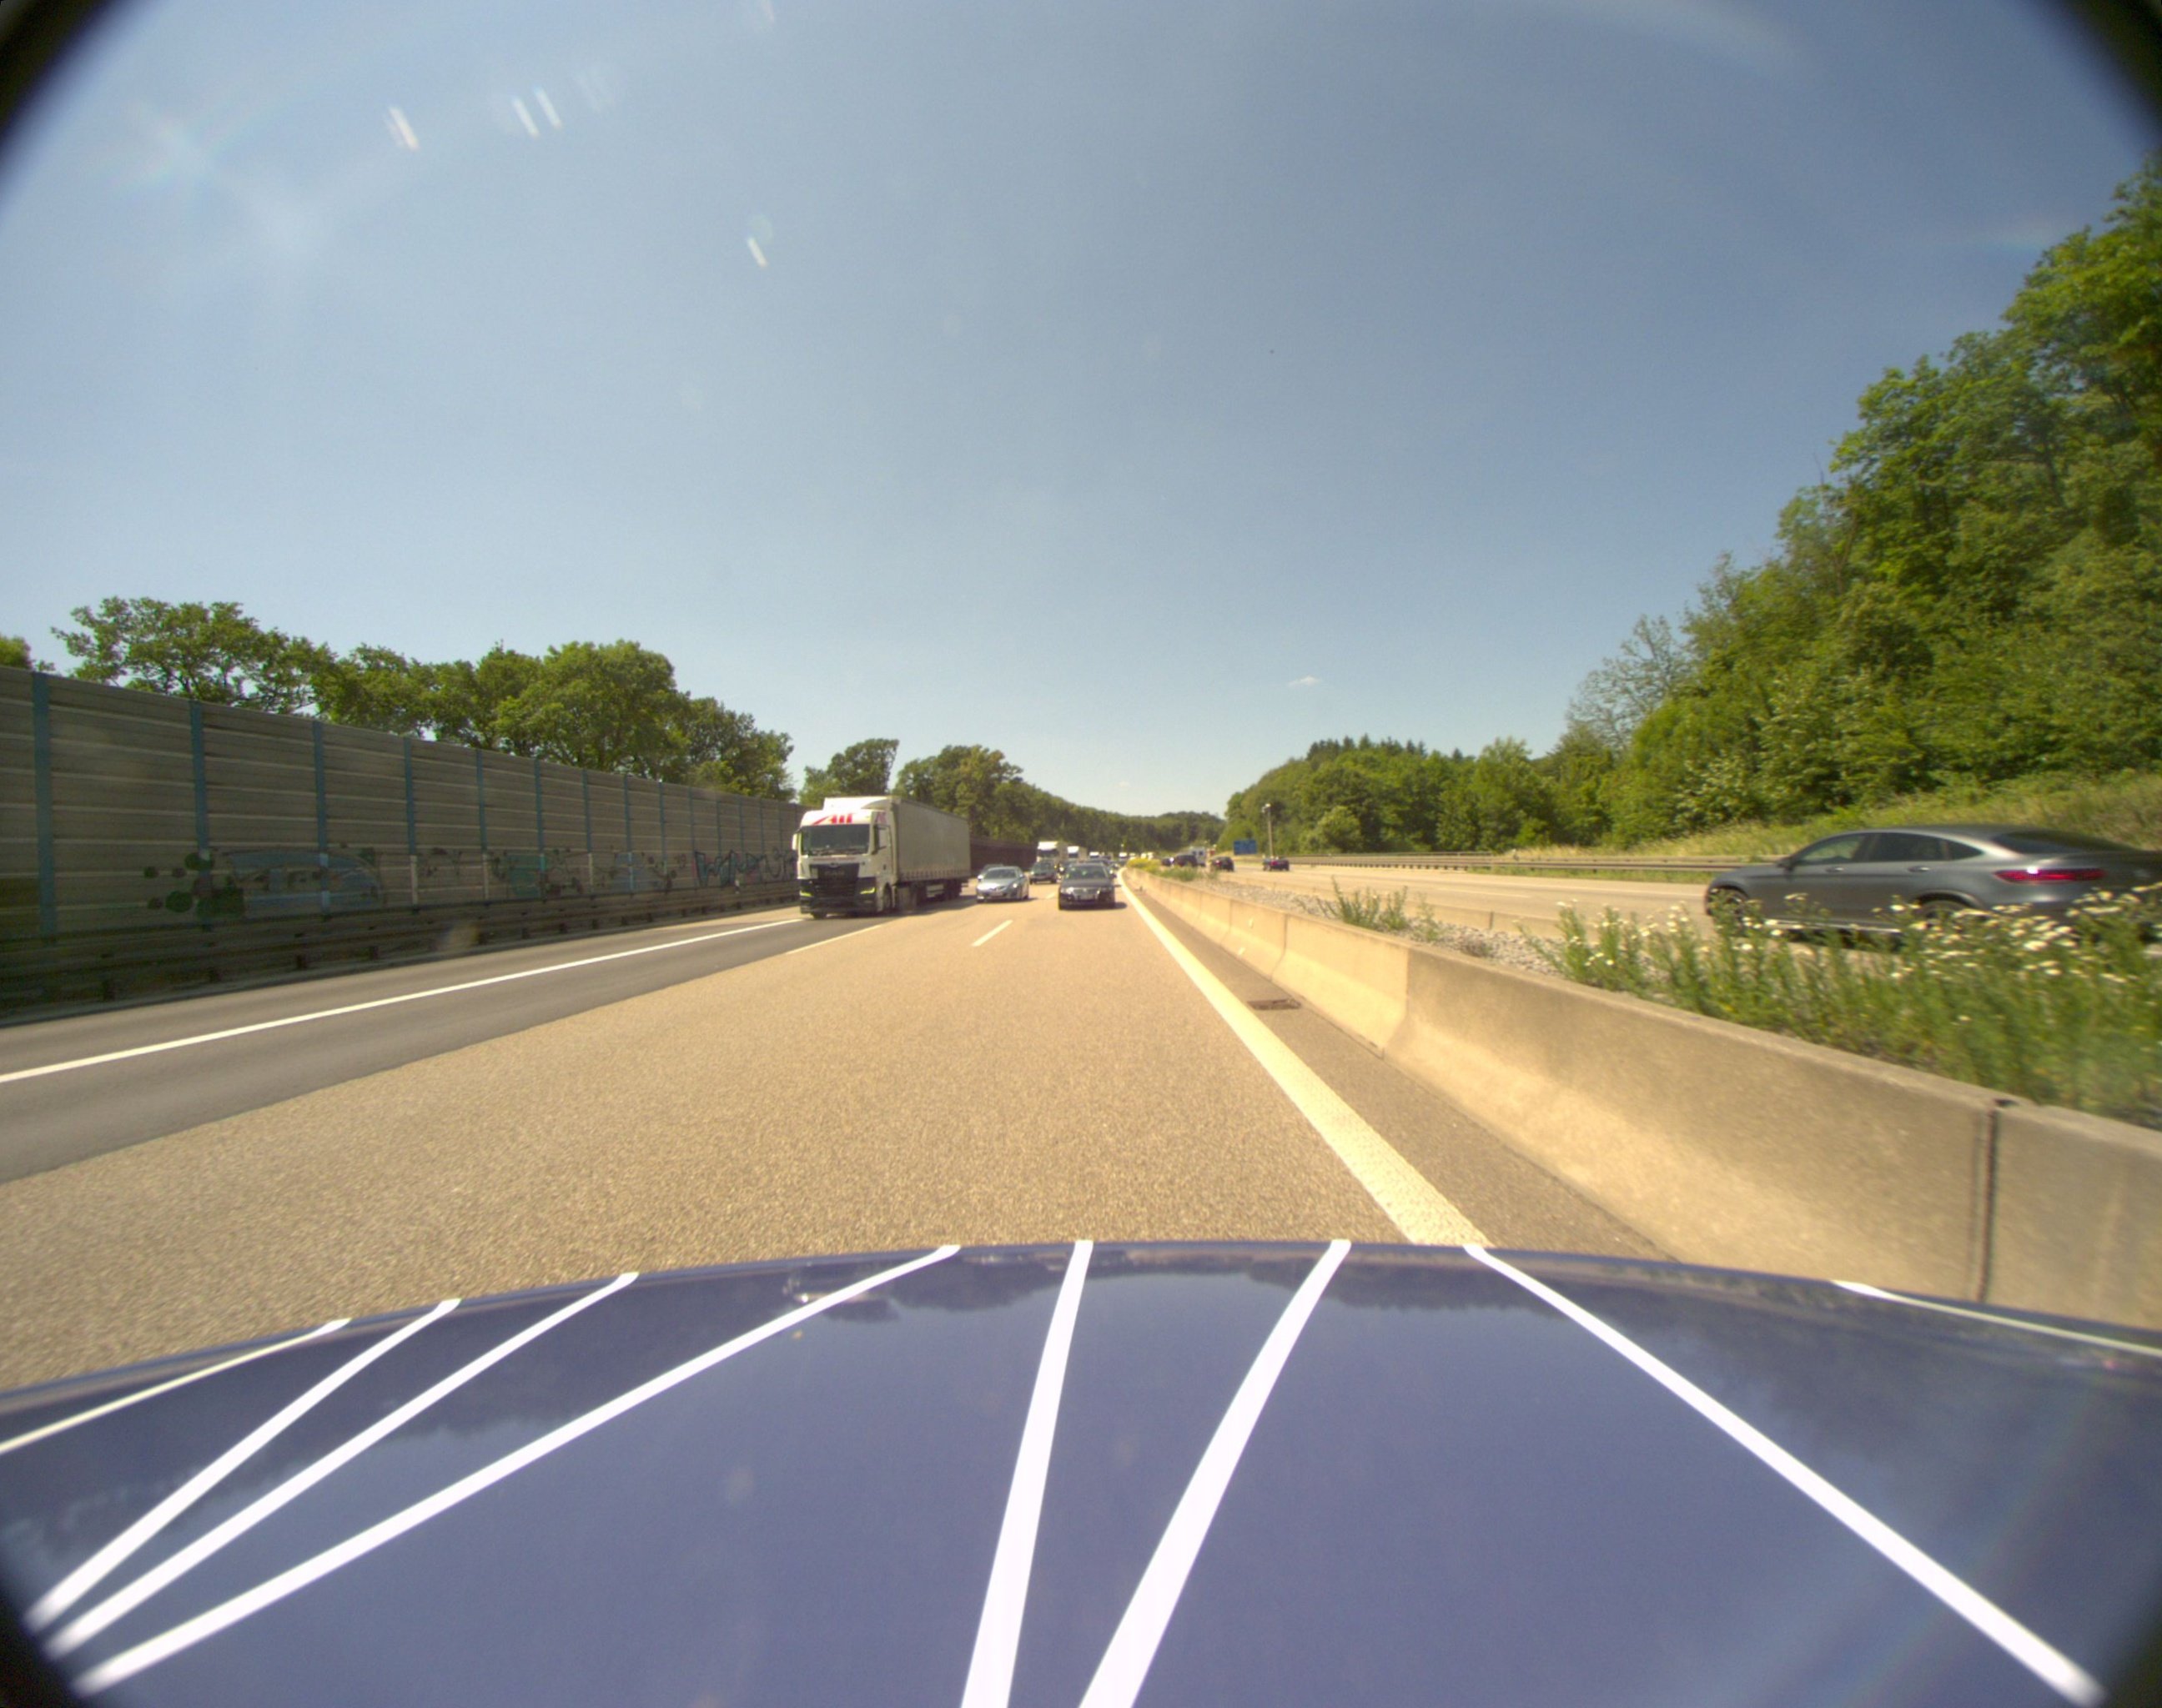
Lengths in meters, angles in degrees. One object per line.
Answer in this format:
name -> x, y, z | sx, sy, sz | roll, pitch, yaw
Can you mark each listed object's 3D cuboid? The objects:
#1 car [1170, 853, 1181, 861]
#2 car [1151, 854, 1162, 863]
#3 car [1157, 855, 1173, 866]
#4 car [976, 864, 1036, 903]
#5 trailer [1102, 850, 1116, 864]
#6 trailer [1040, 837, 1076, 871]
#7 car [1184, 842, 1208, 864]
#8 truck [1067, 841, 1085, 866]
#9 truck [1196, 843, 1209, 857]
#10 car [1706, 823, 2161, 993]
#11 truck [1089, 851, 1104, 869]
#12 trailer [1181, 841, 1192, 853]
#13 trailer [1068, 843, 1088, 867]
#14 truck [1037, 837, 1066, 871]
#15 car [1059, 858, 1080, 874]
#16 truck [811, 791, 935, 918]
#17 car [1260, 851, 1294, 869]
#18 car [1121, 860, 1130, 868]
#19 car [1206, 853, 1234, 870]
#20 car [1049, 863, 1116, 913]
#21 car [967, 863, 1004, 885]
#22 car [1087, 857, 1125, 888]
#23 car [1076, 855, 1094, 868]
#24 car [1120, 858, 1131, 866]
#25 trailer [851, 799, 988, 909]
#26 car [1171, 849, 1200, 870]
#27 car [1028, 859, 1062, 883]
car -> 18.946, 0.574, 152.025 | 1.847, 1.411, 4.234 | -2, 0, 3
car -> 13.473, 0.748, 135.616 | 1.808, 1.518, 4.257 | -2, 0, 3
car -> 11.952, 0.948, 108.476 | 1.879, 1.402, 4.412 | -2, 0, 2
car -> -3.060, 1.199, 31.755 | 1.860, 1.426, 4.177 | -2, 0, 2
trailer -> 8.351, 0.854, 223.171 | 3.153, 4.061, 6.187 | -2, 0, 10
trailer -> -2.950, 0.015, 104.550 | 2.820, 4.190, 13.472 | -2, 0, 7
car -> 14.692, -0.117, 97.036 | 2.221, 2.685, 6.063 | -2, 0, 2
truck -> -0.914, -0.040, 134.624 | 2.544, 4.149, 4.747 | -2, 0, 5
truck -> 31.074, -0.918, 193.936 | 2.741, 3.454, 7.317 | -2, 0, 5
car -> 10.750, 0.510, 9.621 | 1.998, 1.618, 4.474 | -2, 0, 1
truck -> 3.847, 1.459, 188.680 | 2.852, 4.381, 5.242 | -2, 0, 7
trailer -> 35.933, -2.501, 259.756 | 2.787, 3.834, 10.173 | -2, 0, 3
trailer -> -0.436, 0.231, 139.700 | 2.541, 4.149, 10.181 | -2, 0, 5
truck -> -3.756, 0.010, 97.784 | 2.811, 4.190, 5.424 | -2, 0, 7
car -> -1.217, 1.249, 81.505 | 1.998, 1.641, 4.000 | -2, 0, 1
truck -> -7.355, 0.009, 27.681 | 2.604, 4.066, 5.553 | -2, 0, 3
car -> 16.447, 0.508, 63.953 | 1.844, 1.444, 4.001 | -2, 0, 1
car -> 10.758, 2.427, 182.268 | 1.998, 1.641, 4.002 | -2, 0, 6
car -> 12.421, 0.692, 68.264 | 1.818, 1.393, 4.272 | -2, 0, 1
car -> 0.147, 1.046, 24.868 | 1.907, 1.410, 4.001 | -2, 0, 4
car -> -7.142, 1.470, 57.151 | 1.860, 1.484, 4.178 | -2, 0, 5
car -> 1.487, 1.012, 43.733 | 1.998, 1.641, 4.001 | -2, 0, 4
car -> 0.588, 0.999, 101.275 | 1.998, 1.641, 4.002 | -2, 0, 6
car -> 9.015, 1.572, 153.183 | 1.998, 1.641, 4.002 | -2, 0, 6
trailer -> -6.927, -0.029, 35.423 | 2.604, 4.066, 13.594 | -2, 0, 3
car -> 9.154, 0.487, 67.113 | 1.998, 1.713, 4.357 | -2, 0, 1
car -> -2.467, 1.138, 52.928 | 1.907, 1.550, 4.001 | -2, 0, 4
